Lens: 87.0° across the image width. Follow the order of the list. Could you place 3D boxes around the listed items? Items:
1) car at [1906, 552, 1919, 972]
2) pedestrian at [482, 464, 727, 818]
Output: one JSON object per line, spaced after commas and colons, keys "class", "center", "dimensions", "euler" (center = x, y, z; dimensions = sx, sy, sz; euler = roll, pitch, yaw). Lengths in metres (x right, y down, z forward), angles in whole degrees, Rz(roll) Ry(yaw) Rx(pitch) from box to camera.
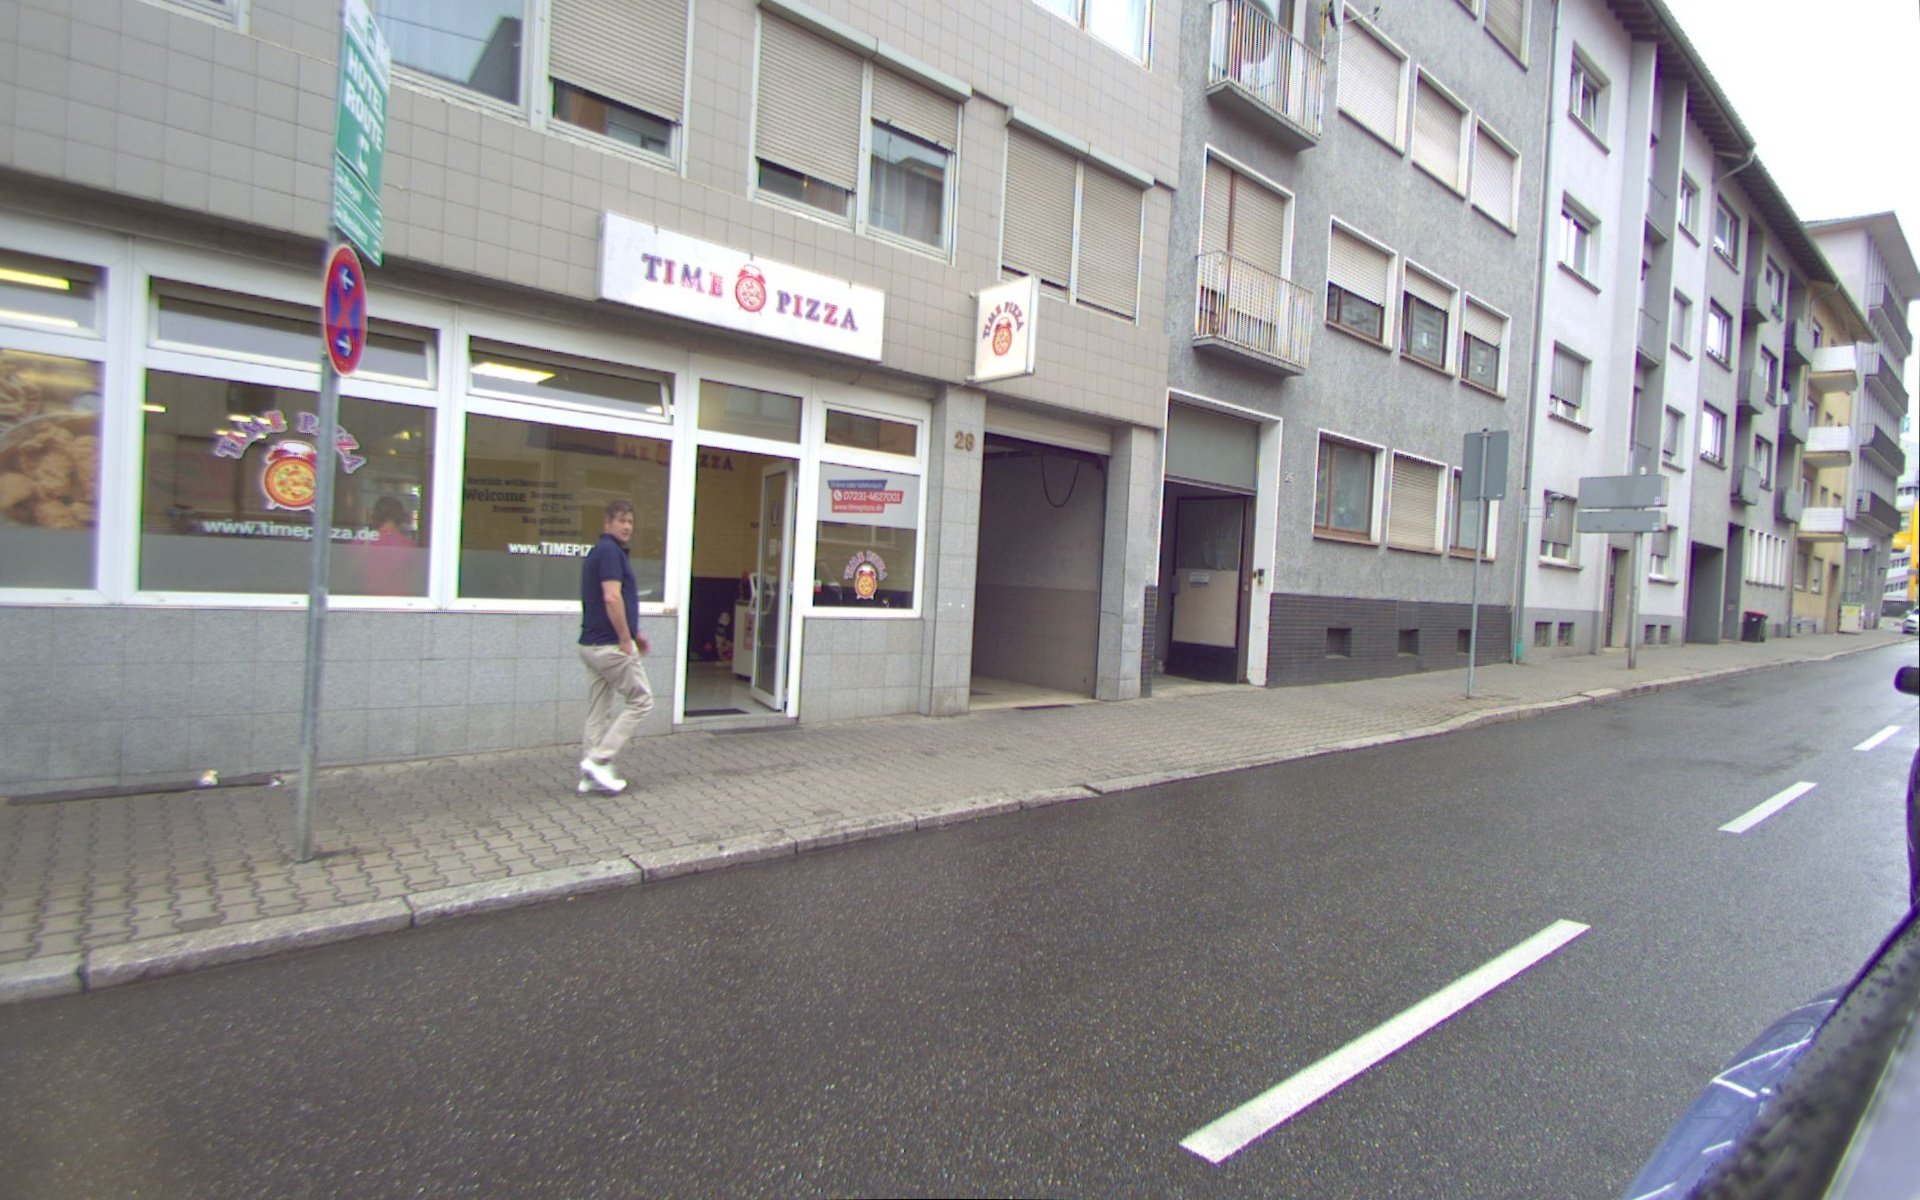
{"class": "car", "center": [6.074, 0.656, 4.946], "dimensions": [4.144, 1.743, 1.697], "euler": [-1, 0, -41]}
{"class": "pedestrian", "center": [-2.144, 0.181, 6.087], "dimensions": [1.100, 1.887, 0.871], "euler": [0, 7, -41]}
